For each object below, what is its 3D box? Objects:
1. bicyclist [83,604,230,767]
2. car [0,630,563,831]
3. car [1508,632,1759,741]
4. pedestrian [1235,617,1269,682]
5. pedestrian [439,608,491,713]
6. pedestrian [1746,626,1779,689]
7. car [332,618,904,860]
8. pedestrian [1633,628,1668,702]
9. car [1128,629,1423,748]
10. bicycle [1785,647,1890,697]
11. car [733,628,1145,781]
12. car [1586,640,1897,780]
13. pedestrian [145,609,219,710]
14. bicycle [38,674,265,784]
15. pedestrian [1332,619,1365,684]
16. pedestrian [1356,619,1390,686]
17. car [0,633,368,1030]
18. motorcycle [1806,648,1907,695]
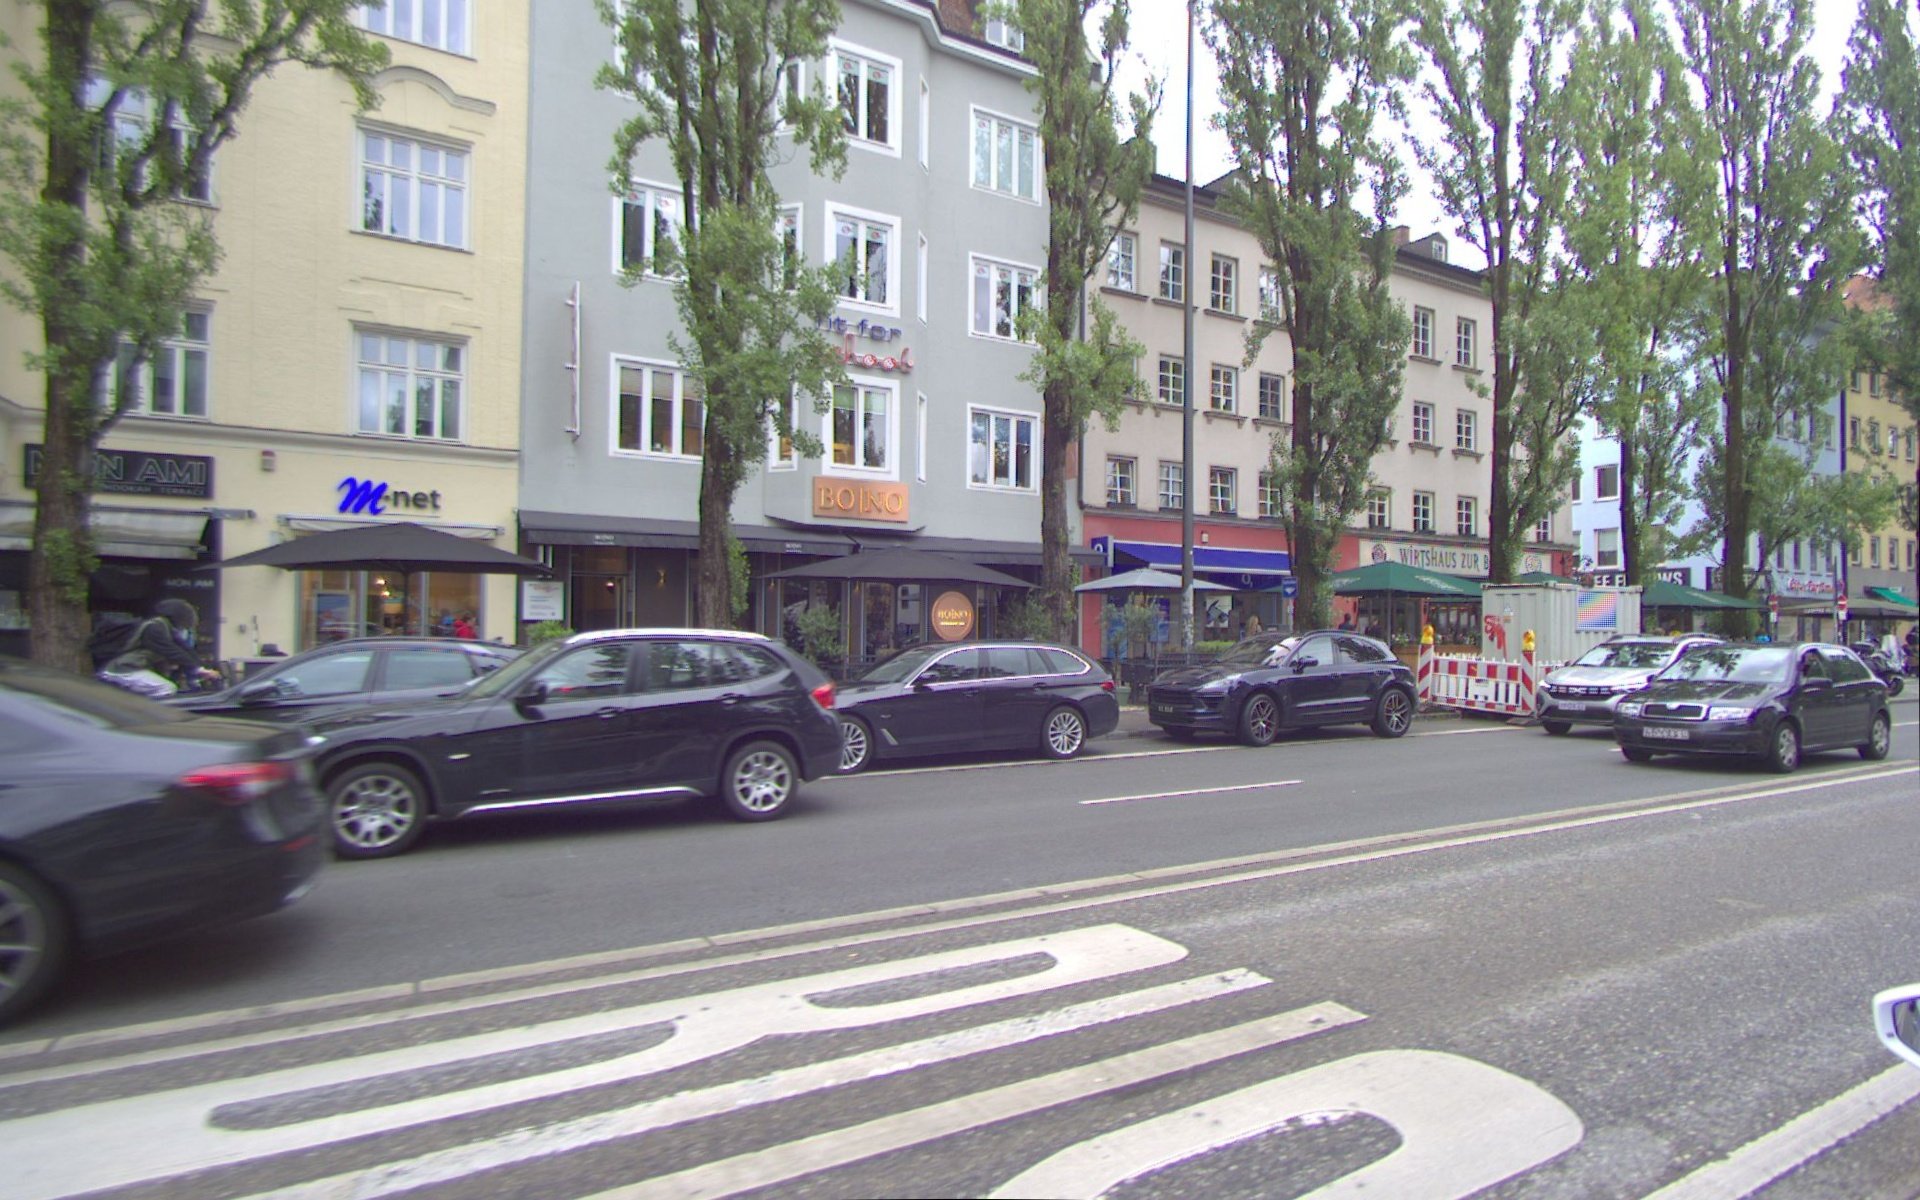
[{"bbox_3d":[-8.284,0.857,10.401,1.094,1.601,0.494,1,-2,-31],"label":"bicyclist"},{"bbox_3d":[-6.064,1.048,9.274,4.267,1.502,1.985,1,-3,-29],"label":"car"},{"bbox_3d":[10.812,1.343,16.091,3.954,1.552,1.817,2,-3,-31],"label":"car"},{"bbox_3d":[7.908,1.342,27.192,0.640,1.722,0.635,1,-2,-30],"label":"pedestrian"},{"bbox_3d":[-8.628,1.040,17.506,0.746,1.770,0.536,1,-1,-30],"label":"pedestrian"},{"bbox_3d":[23.926,1.703,29.932,0.658,1.811,0.825,1,-1,45],"label":"pedestrian"},{"bbox_3d":[-2.743,1.019,8.456,4.162,1.585,1.840,2,-3,-30],"label":"car"},{"bbox_3d":[16.376,1.530,23.809,0.568,1.724,0.478,1,-2,-30],"label":"pedestrian"},{"bbox_3d":[4.850,1.252,15.348,4.278,1.585,1.841,1,-2,-28],"label":"car"},{"bbox_3d":[21.907,1.777,25.109,0.667,1.152,1.847,1,-2,-33],"label":"bicycle"},{"bbox_3d":[-0.211,1.182,12.641,4.830,1.617,1.986,1,-3,-28],"label":"car"},{"bbox_3d":[9.403,1.199,12.055,3.679,1.432,1.704,1,-2,-30],"label":"car"},{"bbox_3d":[-12.496,0.947,16.152,0.806,1.582,0.631,1,-2,-28],"label":"pedestrian"},{"bbox_3d":[-8.278,1.295,10.383,1.747,1.020,0.506,1,-2,-31],"label":"bicycle"},{"bbox_3d":[11.372,1.495,29.422,0.640,1.886,0.635,1,-2,-30],"label":"pedestrian"},{"bbox_3d":[11.873,1.500,28.854,0.640,1.886,0.635,1,-2,-30],"label":"pedestrian"},{"bbox_3d":[-5.085,0.867,3.920,4.715,1.450,1.985,1,-3,-30],"label":"car"},{"bbox_3d":[23.328,1.842,26.172,0.667,1.152,1.847,1,-2,-33],"label":"motorcycle"}]
